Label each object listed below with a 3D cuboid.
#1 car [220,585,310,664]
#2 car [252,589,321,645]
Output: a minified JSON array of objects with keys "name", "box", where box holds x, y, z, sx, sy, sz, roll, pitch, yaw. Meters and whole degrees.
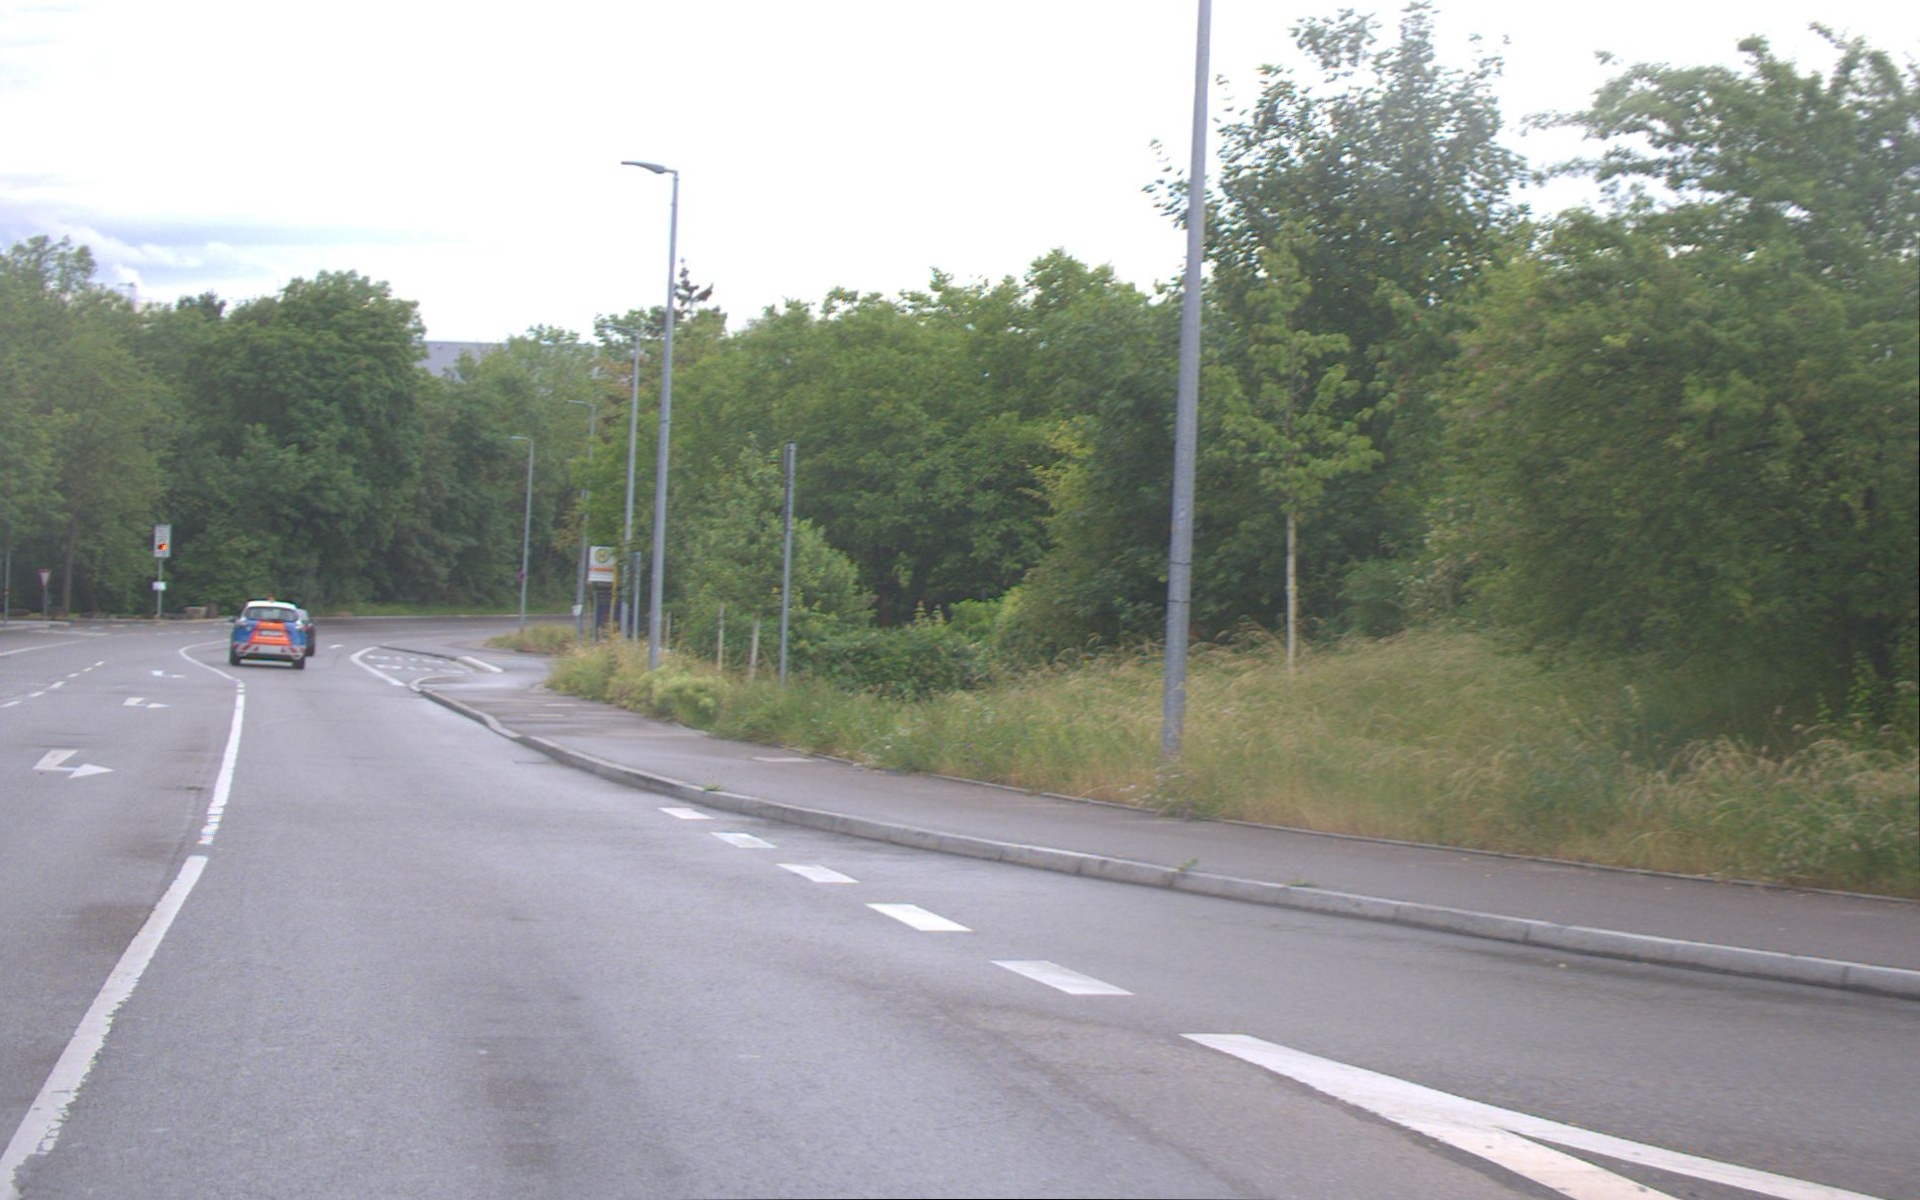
[{"name":"car","box":[-16.591,0.556,82.191,1.993,1.683,4.001,1,2,-10]},{"name":"car","box":[-19.919,0.494,101.696,1.926,1.481,3.801,1,2,-11]}]
